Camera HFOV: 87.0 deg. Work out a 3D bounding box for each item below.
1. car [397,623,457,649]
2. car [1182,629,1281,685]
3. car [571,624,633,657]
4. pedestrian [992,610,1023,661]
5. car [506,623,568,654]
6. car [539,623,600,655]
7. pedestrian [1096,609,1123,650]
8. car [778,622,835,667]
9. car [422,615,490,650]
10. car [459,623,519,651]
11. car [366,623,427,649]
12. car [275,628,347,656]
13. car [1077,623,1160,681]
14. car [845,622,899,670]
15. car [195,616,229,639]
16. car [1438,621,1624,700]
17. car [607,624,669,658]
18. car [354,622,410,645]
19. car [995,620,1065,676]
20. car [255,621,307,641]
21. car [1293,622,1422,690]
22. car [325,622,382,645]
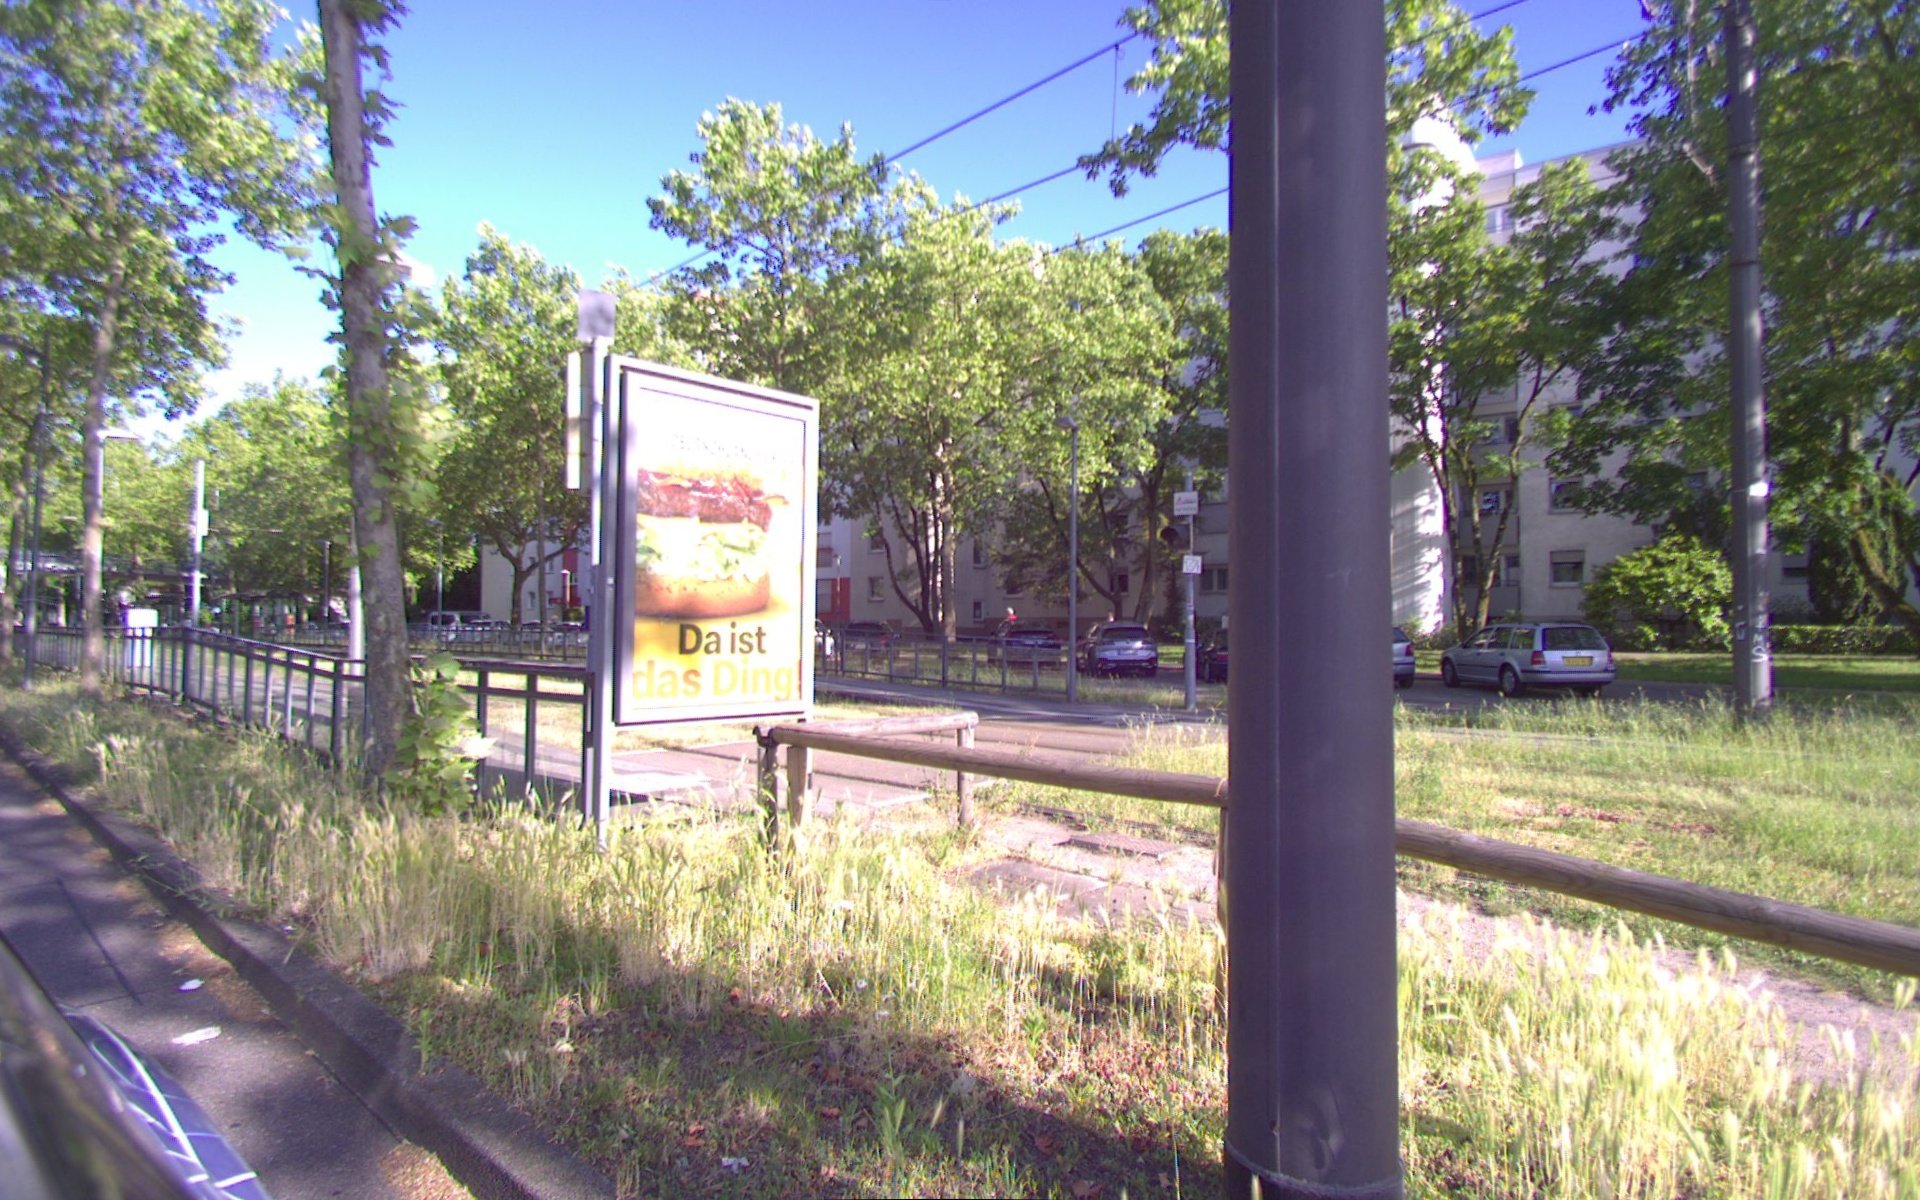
[{"bbox_3d":[-31.322,2.082,59.600,1.633,1.452,3.805,-1,-1,-2],"label":"car"},{"bbox_3d":[6.684,1.377,25.277,1.445,1.234,3.815,-1,-1,0],"label":"car"},{"bbox_3d":[-16.617,1.854,47.160,1.633,1.452,3.805,-1,-1,-2],"label":"car"},{"bbox_3d":[1.650,1.238,35.307,0.786,1.745,0.755,-1,0,39],"label":"pedestrian"},{"bbox_3d":[-21.328,1.939,51.184,1.633,1.452,3.805,-1,-1,-2],"label":"car"},{"bbox_3d":[-19.036,1.897,49.540,1.633,1.452,3.805,-1,-1,-2],"label":"car"},{"bbox_3d":[6.042,1.171,40.878,0.786,1.635,0.755,-1,0,39],"label":"pedestrian"},{"bbox_3d":[-5.557,1.569,37.018,1.633,1.522,3.805,-1,-1,-2],"label":"car"},{"bbox_3d":[-28.443,1.824,57.255,1.814,1.888,4.323,-1,-1,-2],"label":"car"},{"bbox_3d":[-25.861,1.999,55.661,1.633,1.452,3.805,-1,-1,-2],"label":"car"},{"bbox_3d":[-33.685,2.113,60.603,1.633,1.452,3.805,-1,-1,-2],"label":"car"},{"bbox_3d":[-37.422,2.405,58.340,4.625,1.522,1.639,-1,-1,31],"label":"car"},{"bbox_3d":[4.227,1.364,27.520,1.633,1.413,3.803,-1,-1,0],"label":"car"},{"bbox_3d":[-2.967,1.526,34.649,1.633,1.522,3.805,-1,-1,-2],"label":"car"},{"bbox_3d":[-54.285,2.001,73.422,2.817,1.569,1.558,-2,-1,44],"label":"car"},{"bbox_3d":[11.483,1.161,20.665,1.559,1.413,3.906,-1,-1,0],"label":"car"},{"bbox_3d":[-14.054,1.765,44.337,1.633,1.366,3.805,-1,-1,-2],"label":"car"},{"bbox_3d":[-37.875,2.172,66.379,1.633,1.452,3.805,-1,-1,-2],"label":"car"},{"bbox_3d":[1.992,1.354,29.667,1.633,1.522,3.805,-1,-1,-2],"label":"car"},{"bbox_3d":[-53.041,2.401,79.154,1.633,1.452,3.805,-1,-1,-2],"label":"car"},{"bbox_3d":[9.152,1.238,23.591,1.559,1.413,3.638,-1,-1,0],"label":"car"},{"bbox_3d":[-40.829,2.226,68.192,1.633,1.452,3.805,-1,-1,-2],"label":"car"}]
